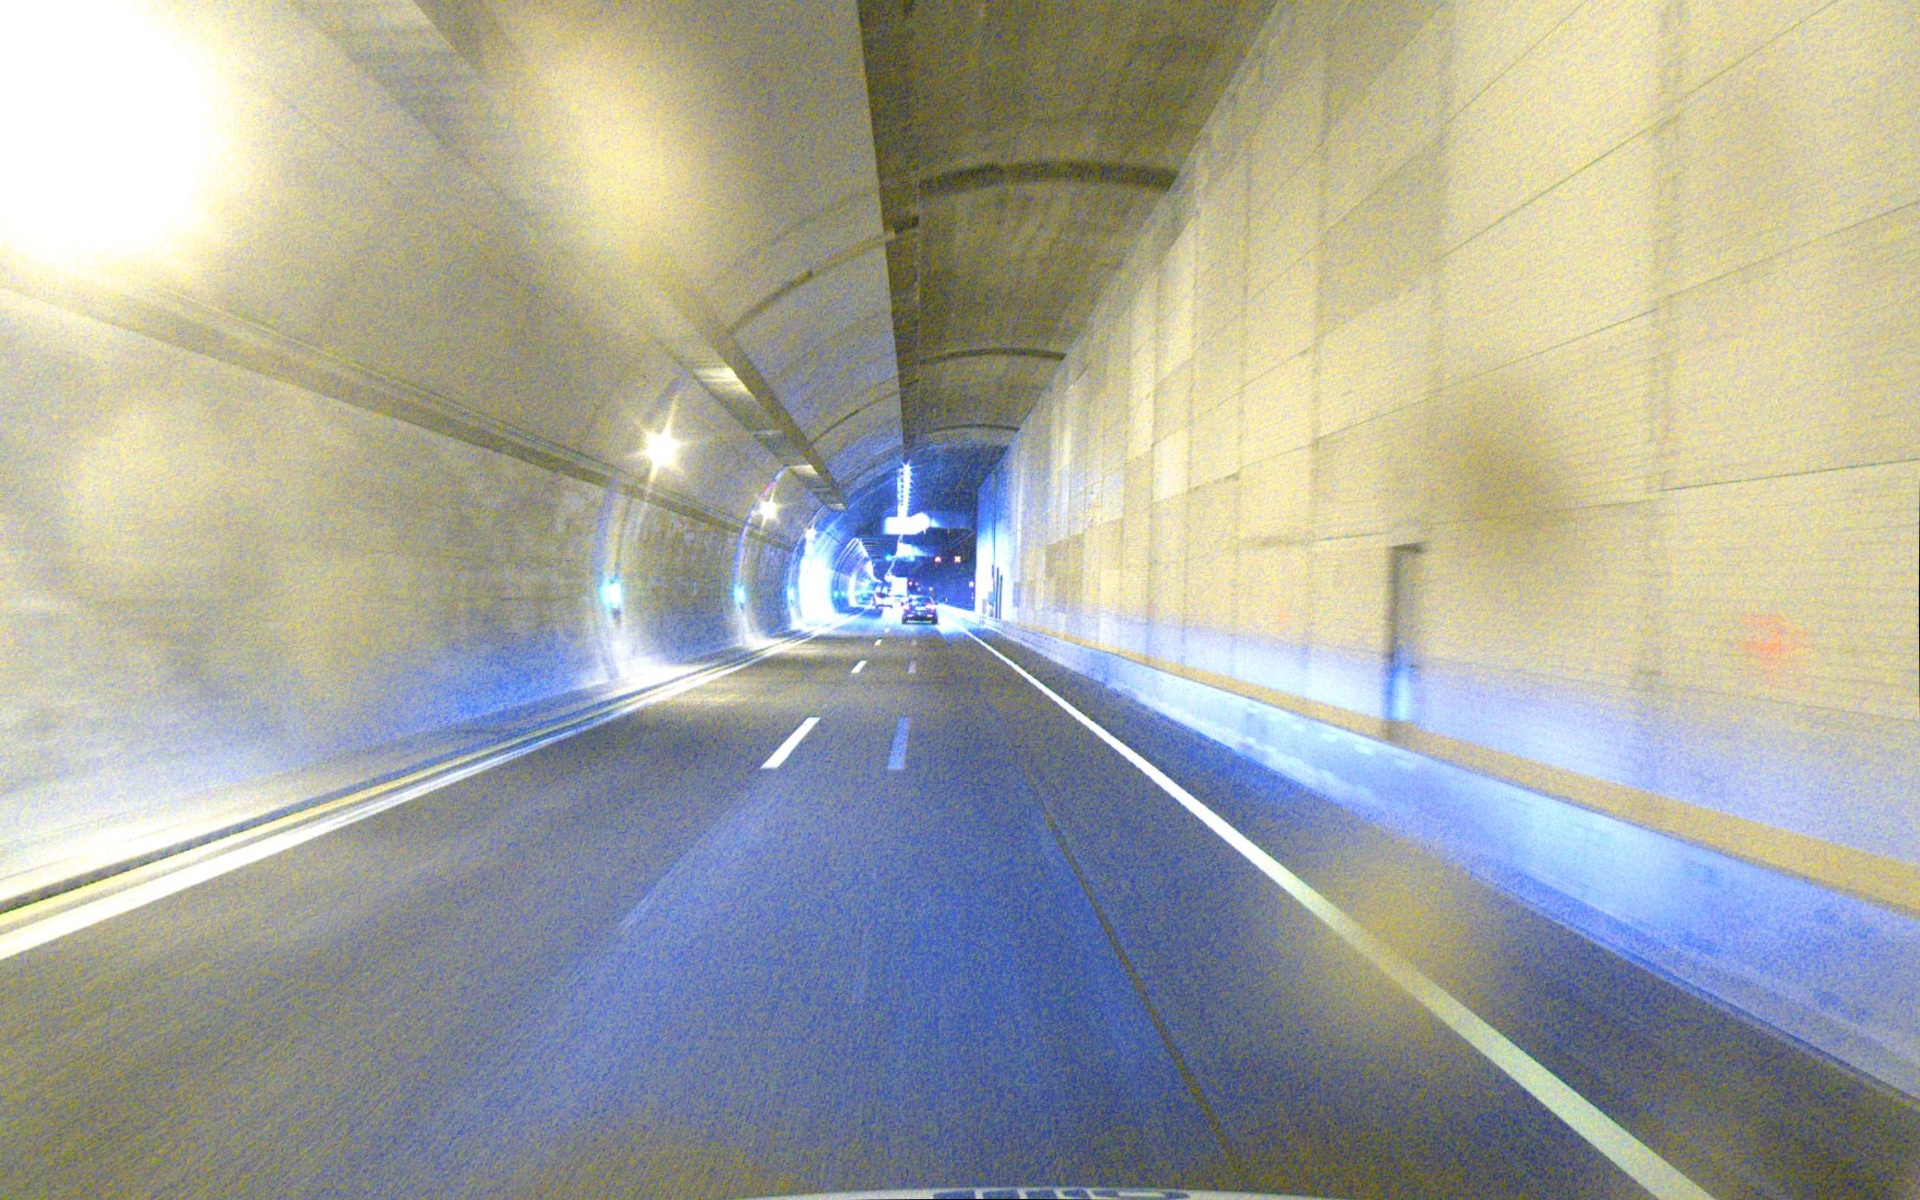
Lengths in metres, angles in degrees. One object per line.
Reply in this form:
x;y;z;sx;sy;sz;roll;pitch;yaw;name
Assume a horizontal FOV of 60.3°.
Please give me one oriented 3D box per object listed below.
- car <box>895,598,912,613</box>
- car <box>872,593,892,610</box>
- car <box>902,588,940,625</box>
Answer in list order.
-6.538;0.640;192.460;1.891;1.716;4.000;0;0;0;car
-7.914;0.151;168.463;1.891;1.716;4.000;0;0;0;car
-2.009;0.322;85.593;1.907;1.826;3.999;0;0;-1;car
